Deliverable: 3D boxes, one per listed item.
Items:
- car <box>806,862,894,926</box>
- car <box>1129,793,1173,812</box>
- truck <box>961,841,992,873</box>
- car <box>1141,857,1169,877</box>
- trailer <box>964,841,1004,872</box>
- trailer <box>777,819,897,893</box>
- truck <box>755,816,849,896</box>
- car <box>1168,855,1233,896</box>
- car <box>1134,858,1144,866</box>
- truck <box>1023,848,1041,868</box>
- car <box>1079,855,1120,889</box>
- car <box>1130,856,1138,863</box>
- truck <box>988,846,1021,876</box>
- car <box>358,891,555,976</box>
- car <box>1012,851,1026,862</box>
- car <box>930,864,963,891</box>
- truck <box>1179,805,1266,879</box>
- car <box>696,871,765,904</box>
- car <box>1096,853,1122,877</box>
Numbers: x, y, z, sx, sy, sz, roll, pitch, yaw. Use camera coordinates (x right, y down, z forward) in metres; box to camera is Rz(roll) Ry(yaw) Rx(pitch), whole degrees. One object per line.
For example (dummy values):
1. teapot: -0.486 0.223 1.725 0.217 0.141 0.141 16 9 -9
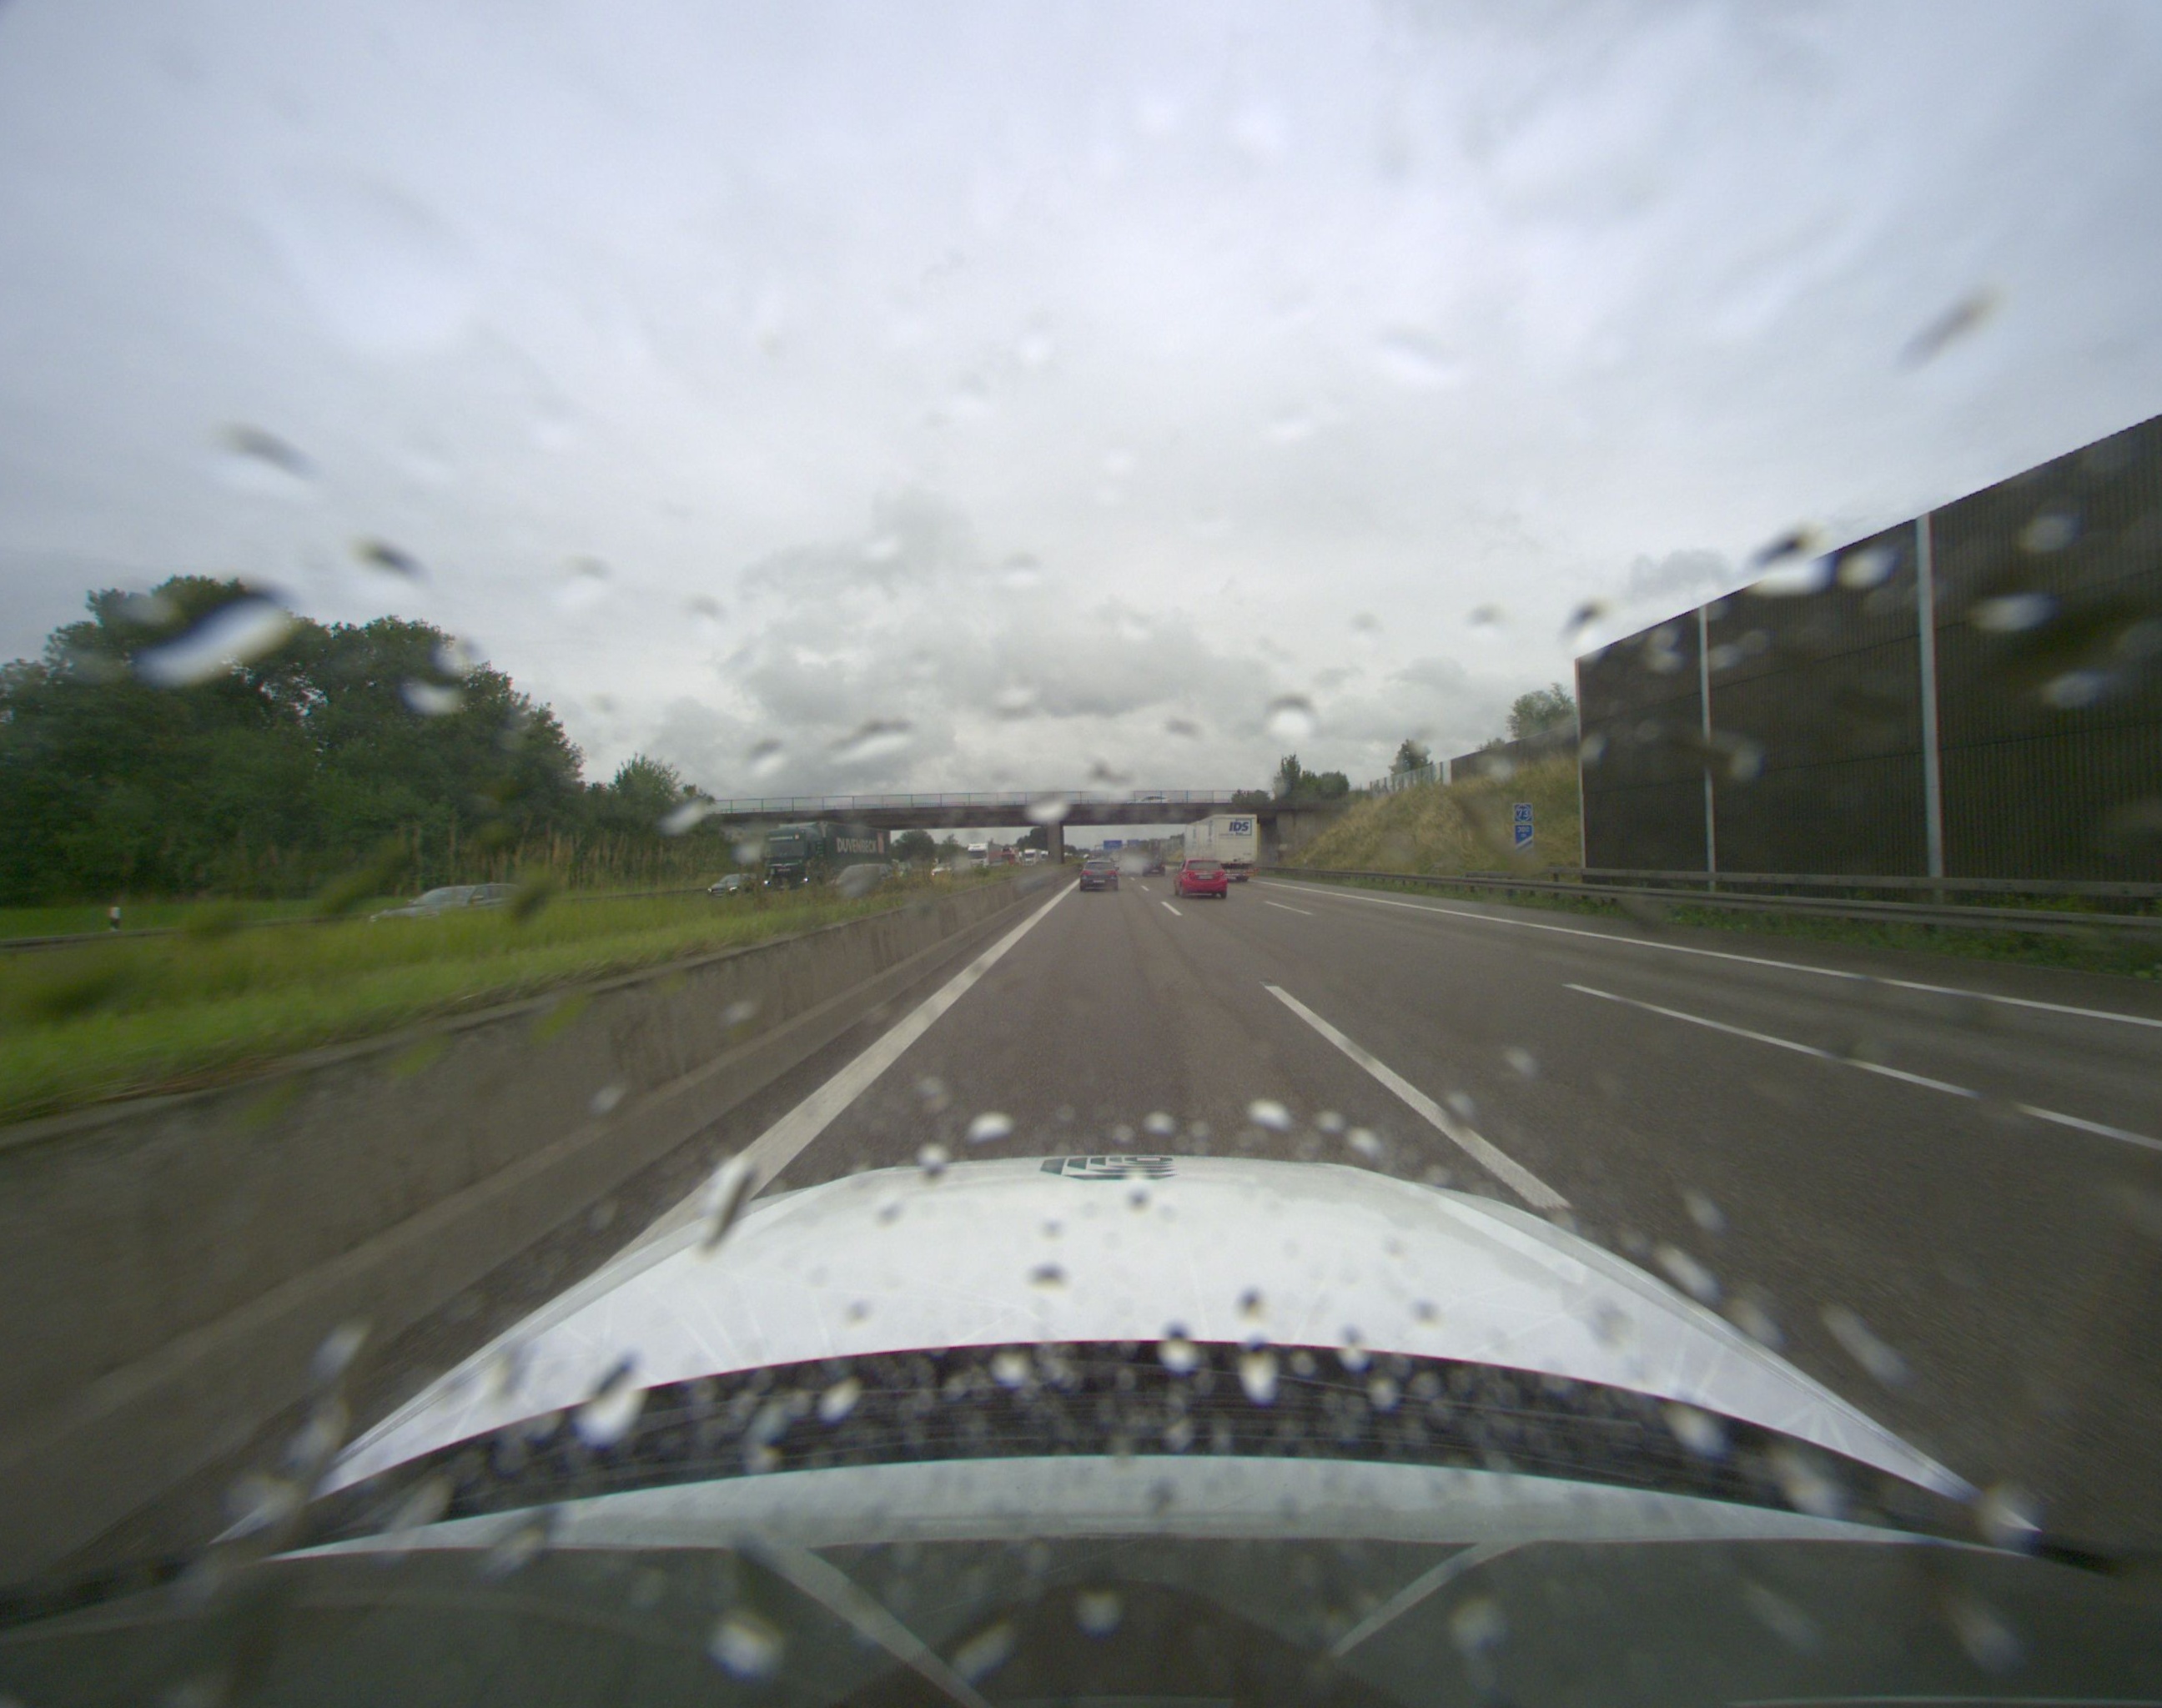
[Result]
1. car: -8.051 1.334 28.798 1.779 2.013 4.002 -2 0 2
2. car: 6.879 -5.087 80.430 3.989 1.618 1.872 1 -1 -12
3. truck: -13.661 0.406 106.989 3.260 4.045 5.294 0 -1 2
4. car: 5.916 1.047 65.560 1.914 1.522 4.623 -1 0 2
5. trailer: -13.426 0.466 114.411 3.311 3.979 15.750 1 -1 2
6. trailer: -14.943 0.199 51.722 2.747 4.050 14.524 0 -1 2
7. truck: -15.161 0.140 44.783 2.747 4.050 6.257 0 -1 2
8. car: 4.533 0.780 31.522 1.884 1.447 4.685 -1 0 1
9. car: 12.007 1.665 168.925 1.839 1.687 4.000 0 -1 1
10. truck: -10.974 0.913 183.864 2.965 4.319 9.673 0 -1 2
11. car: 0.852 0.831 37.649 1.762 1.467 4.000 0 -1 1
12. car: 14.313 1.499 218.619 1.986 1.812 4.229 -2 0 2
13. truck: -13.261 1.290 142.583 4.018 4.944 14.439 0 -1 2
14. car: -18.168 2.215 24.099 1.814 1.969 5.257 -2 0 -2
15. car: -11.989 0.550 157.473 2.148 2.014 5.240 0 -1 2
16. car: -10.655 1.826 64.971 1.779 2.013 4.002 -2 0 2
17. truck: 9.373 -0.578 56.864 3.271 4.295 19.036 0 -1 1
18. car: -18.808 1.774 43.913 1.706 1.553 4.414 -2 0 0
19. car: 2.303 0.903 67.350 1.986 1.861 4.002 -2 0 2
